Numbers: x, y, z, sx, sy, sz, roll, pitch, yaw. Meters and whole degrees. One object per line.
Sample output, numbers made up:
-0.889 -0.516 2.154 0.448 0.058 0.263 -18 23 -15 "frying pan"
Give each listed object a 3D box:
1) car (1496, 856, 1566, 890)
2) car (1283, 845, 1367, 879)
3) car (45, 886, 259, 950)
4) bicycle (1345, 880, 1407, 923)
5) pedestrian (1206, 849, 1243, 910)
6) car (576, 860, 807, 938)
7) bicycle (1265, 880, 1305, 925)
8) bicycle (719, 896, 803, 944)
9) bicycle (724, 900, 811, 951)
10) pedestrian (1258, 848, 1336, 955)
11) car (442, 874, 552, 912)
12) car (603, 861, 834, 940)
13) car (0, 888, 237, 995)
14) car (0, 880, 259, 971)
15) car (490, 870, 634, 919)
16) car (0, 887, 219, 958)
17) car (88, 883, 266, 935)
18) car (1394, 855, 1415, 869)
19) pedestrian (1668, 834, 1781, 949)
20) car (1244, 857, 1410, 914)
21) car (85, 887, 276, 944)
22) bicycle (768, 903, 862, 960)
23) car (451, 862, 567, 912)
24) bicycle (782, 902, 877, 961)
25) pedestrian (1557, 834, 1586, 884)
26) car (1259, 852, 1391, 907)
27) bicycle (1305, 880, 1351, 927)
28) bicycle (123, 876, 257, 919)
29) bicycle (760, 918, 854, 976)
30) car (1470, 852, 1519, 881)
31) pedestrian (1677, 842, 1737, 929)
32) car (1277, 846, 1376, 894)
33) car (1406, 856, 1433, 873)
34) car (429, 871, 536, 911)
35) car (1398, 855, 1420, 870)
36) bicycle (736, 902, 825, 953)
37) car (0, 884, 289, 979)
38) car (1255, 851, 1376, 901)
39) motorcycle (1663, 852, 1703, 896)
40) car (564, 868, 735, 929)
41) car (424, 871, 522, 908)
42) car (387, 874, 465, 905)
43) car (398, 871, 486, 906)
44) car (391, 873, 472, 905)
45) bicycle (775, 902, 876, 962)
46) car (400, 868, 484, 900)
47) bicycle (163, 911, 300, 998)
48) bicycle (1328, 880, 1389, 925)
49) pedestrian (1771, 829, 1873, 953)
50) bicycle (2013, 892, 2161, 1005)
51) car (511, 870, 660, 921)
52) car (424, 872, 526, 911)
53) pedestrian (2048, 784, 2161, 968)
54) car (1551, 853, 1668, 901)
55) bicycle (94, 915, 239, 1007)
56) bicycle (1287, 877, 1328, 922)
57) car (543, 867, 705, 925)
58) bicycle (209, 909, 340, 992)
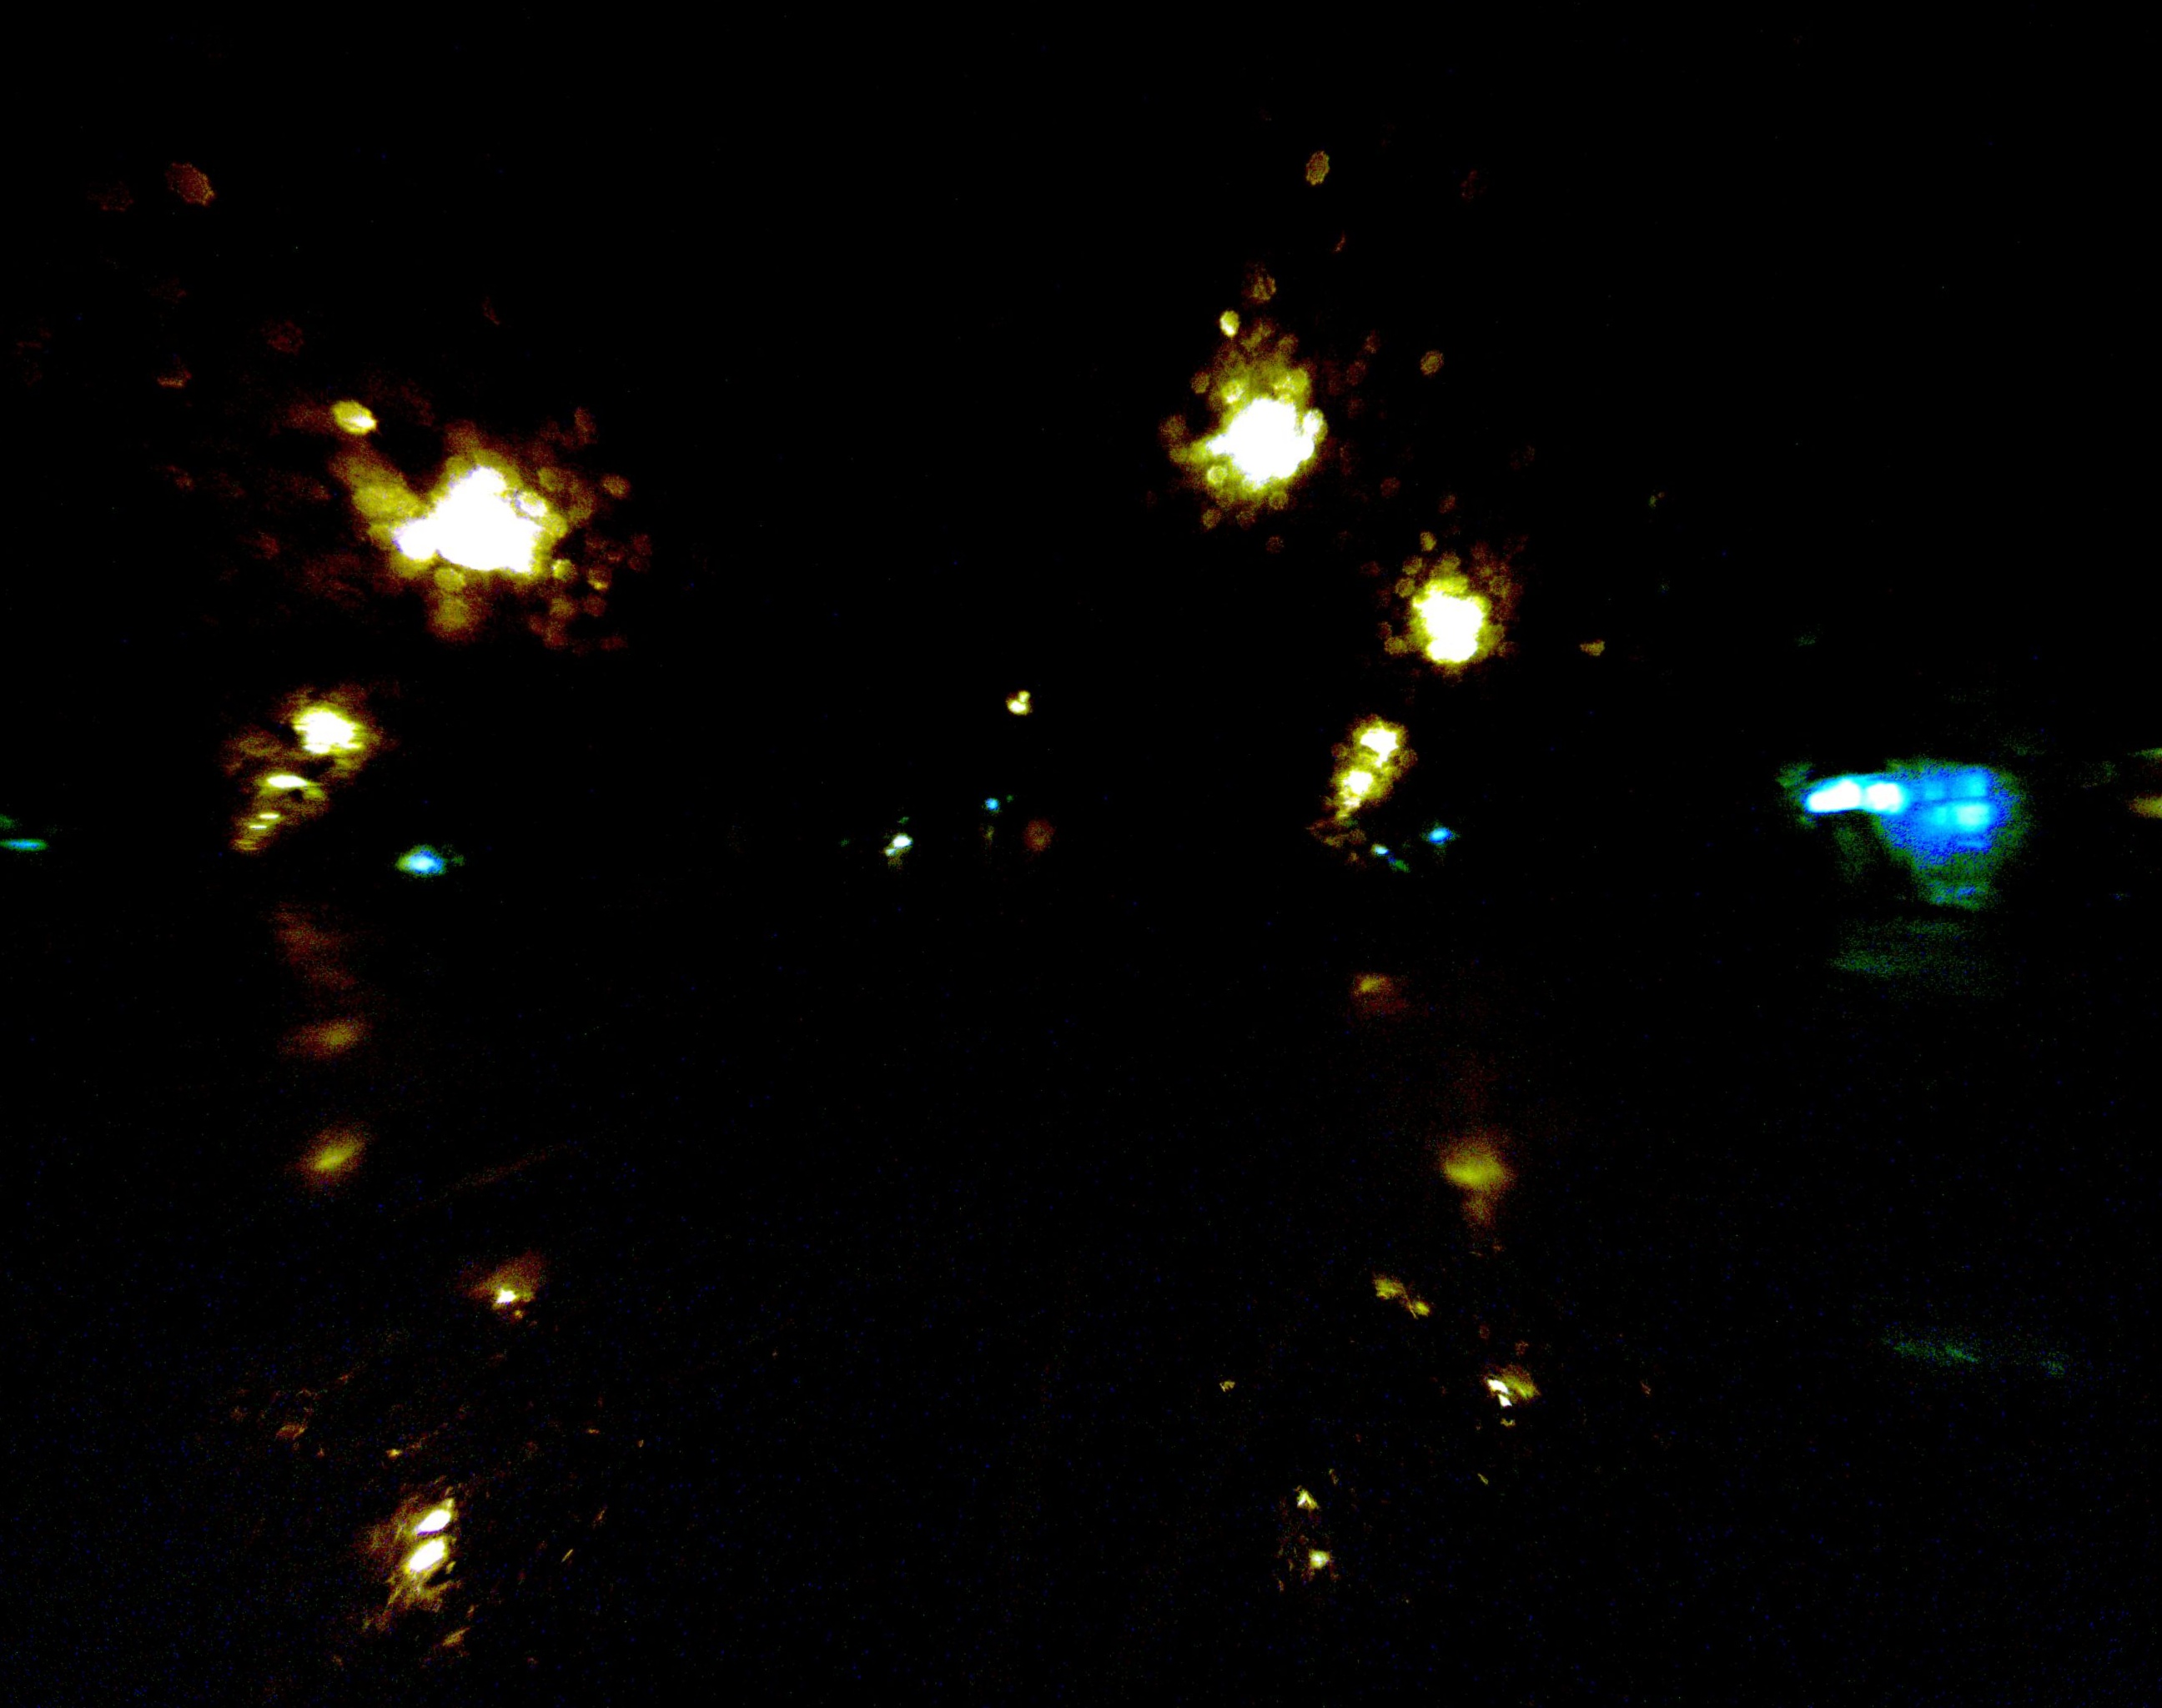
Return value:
21.275 0.855 36.060 1.718 1.469 4.165 -2 -1 14 "car"
15.724 0.498 48.965 4.713 1.969 1.977 -3 1 -12 "car"
-28.171 1.897 23.220 1.753 1.568 3.697 -3 -1 17 "car"
7.574 1.198 19.555 0.336 1.020 1.643 0 -1 -29 "bicycle"
4.425 0.773 23.415 0.789 1.807 0.812 0 2 42 "pedestrian"
-11.046 1.192 21.976 1.995 1.878 5.559 -3 -1 40 "car"
5.114 1.194 19.107 0.336 1.020 1.645 0 1 -8 "bicycle"
-7.371 1.500 17.588 0.402 1.002 1.781 -2 -1 42 "bicycle"
-7.045 1.584 17.143 0.402 1.002 1.814 -2 -1 42 "bicycle"
3.872 0.817 13.641 0.985 1.822 0.876 -2 0 -36 "pedestrian"
-28.490 1.874 37.125 4.007 1.543 1.995 -3 -1 -44 "car"
-9.402 1.133 20.116 1.995 1.752 5.107 -3 -1 40 "car"
-17.662 1.488 13.103 1.753 1.568 3.697 -3 -1 17 "car"
-21.663 1.526 16.934 1.753 1.653 4.112 -3 -1 17 "car"
-21.265 1.612 31.267 1.995 1.752 4.472 -3 -1 40 "car"
-26.557 1.794 20.650 1.753 1.568 3.697 -3 -1 17 "car"
-32.389 1.927 27.372 1.753 1.568 3.697 -3 -1 17 "car"
37.831 0.934 88.880 1.849 1.571 3.740 -3 -1 17 "car"
11.041 0.620 13.109 0.957 1.852 1.417 -1 0 16 "pedestrian"
7.068 0.887 21.993 4.264 1.564 1.770 0 0 -11 "car"
-30.158 2.006 25.602 1.753 1.568 3.697 -3 -1 17 "car"
-5.307 1.521 15.241 0.378 1.002 1.814 -2 -1 42 "bicycle"
-26.484 1.516 35.216 4.007 2.001 1.995 -3 -1 -44 "car"
-4.917 1.495 14.959 0.402 1.002 1.814 -2 -1 42 "bicycle"
22.624 0.234 35.072 0.800 2.227 1.118 -1 0 16 "pedestrian"
7.901 0.799 24.722 3.743 1.702 1.769 0 0 -17 "car"
6.233 1.226 19.262 0.336 1.021 1.643 -2 3 -12 "bicycle"
-46.198 2.215 39.521 1.996 2.002 4.005 -2 0 17 "bicycle"
-5.583 1.878 15.570 0.402 1.002 1.814 -2 -1 42 "bicycle"
22.393 0.660 41.290 1.718 1.469 3.791 -3 -1 20 "car"
13.096 0.653 15.920 0.827 1.760 0.601 -3 0 30 "pedestrian"
10.529 0.679 32.679 3.743 2.016 1.719 0 0 -18 "car"
32.414 0.989 72.876 1.849 1.469 3.740 -3 -1 17 "car"
-30.304 1.855 38.512 4.007 1.762 1.995 -3 -1 -44 "car"
36.172 0.896 83.899 1.849 1.571 3.740 -3 -1 17 "car"
-6.598 1.591 16.749 0.402 1.002 1.814 -2 -1 42 "bicycle"
-19.513 1.527 15.851 1.753 1.568 3.697 -3 -1 17 "car"
8.353 0.755 27.156 3.796 1.702 1.746 0 0 -17 "car"
20.812 0.670 26.307 0.537 1.462 1.459 -3 -1 17 "motorcycle"
-14.181 1.409 25.161 1.995 1.752 4.472 -3 -1 40 "car"
-33.705 1.931 42.163 4.007 1.761 1.995 -3 -1 -44 "car"
-45.941 2.474 53.332 1.994 2.001 4.009 -2 -1 44 "car"
-39.787 2.126 47.351 1.994 2.001 4.009 -2 -1 44 "car"
-43.934 2.336 51.451 1.994 2.001 4.009 -2 -1 44 "car"
-4.820 1.449 14.437 0.454 1.002 1.814 -2 -1 42 "bicycle"
-41.683 1.922 49.599 1.994 2.001 4.009 -2 -1 44 "car"
-12.523 1.486 11.198 1.961 1.169 0.452 -3 0 15 "bicycle"
7.039 1.208 19.362 0.336 1.020 1.642 0 1 -27 "bicycle"
11.476 0.562 11.807 0.675 1.821 1.079 -3 -1 19 "pedestrian"
10.928 0.951 7.698 0.714 1.053 1.802 -1 -1 -2 "bicycle"
-19.425 1.581 29.936 1.995 1.752 4.472 -3 -1 40 "car"
-32.018 1.976 40.200 4.007 1.761 1.995 -3 -1 -44 "car"
10.914 0.213 7.715 0.714 1.800 1.125 -1 -1 -1 "pedestrian"
17.985 0.736 26.147 1.849 1.469 5.038 -2 -1 18 "car"
-12.675 1.486 10.526 1.961 1.169 0.452 -3 0 15 "bicycle"
5.725 1.136 19.275 0.336 1.086 1.645 0 -1 -8 "bicycle"
-16.072 1.432 26.906 1.995 1.752 4.472 -3 -1 40 "car"
-12.420 1.486 11.697 1.961 1.169 0.452 -3 0 15 "bicycle"
